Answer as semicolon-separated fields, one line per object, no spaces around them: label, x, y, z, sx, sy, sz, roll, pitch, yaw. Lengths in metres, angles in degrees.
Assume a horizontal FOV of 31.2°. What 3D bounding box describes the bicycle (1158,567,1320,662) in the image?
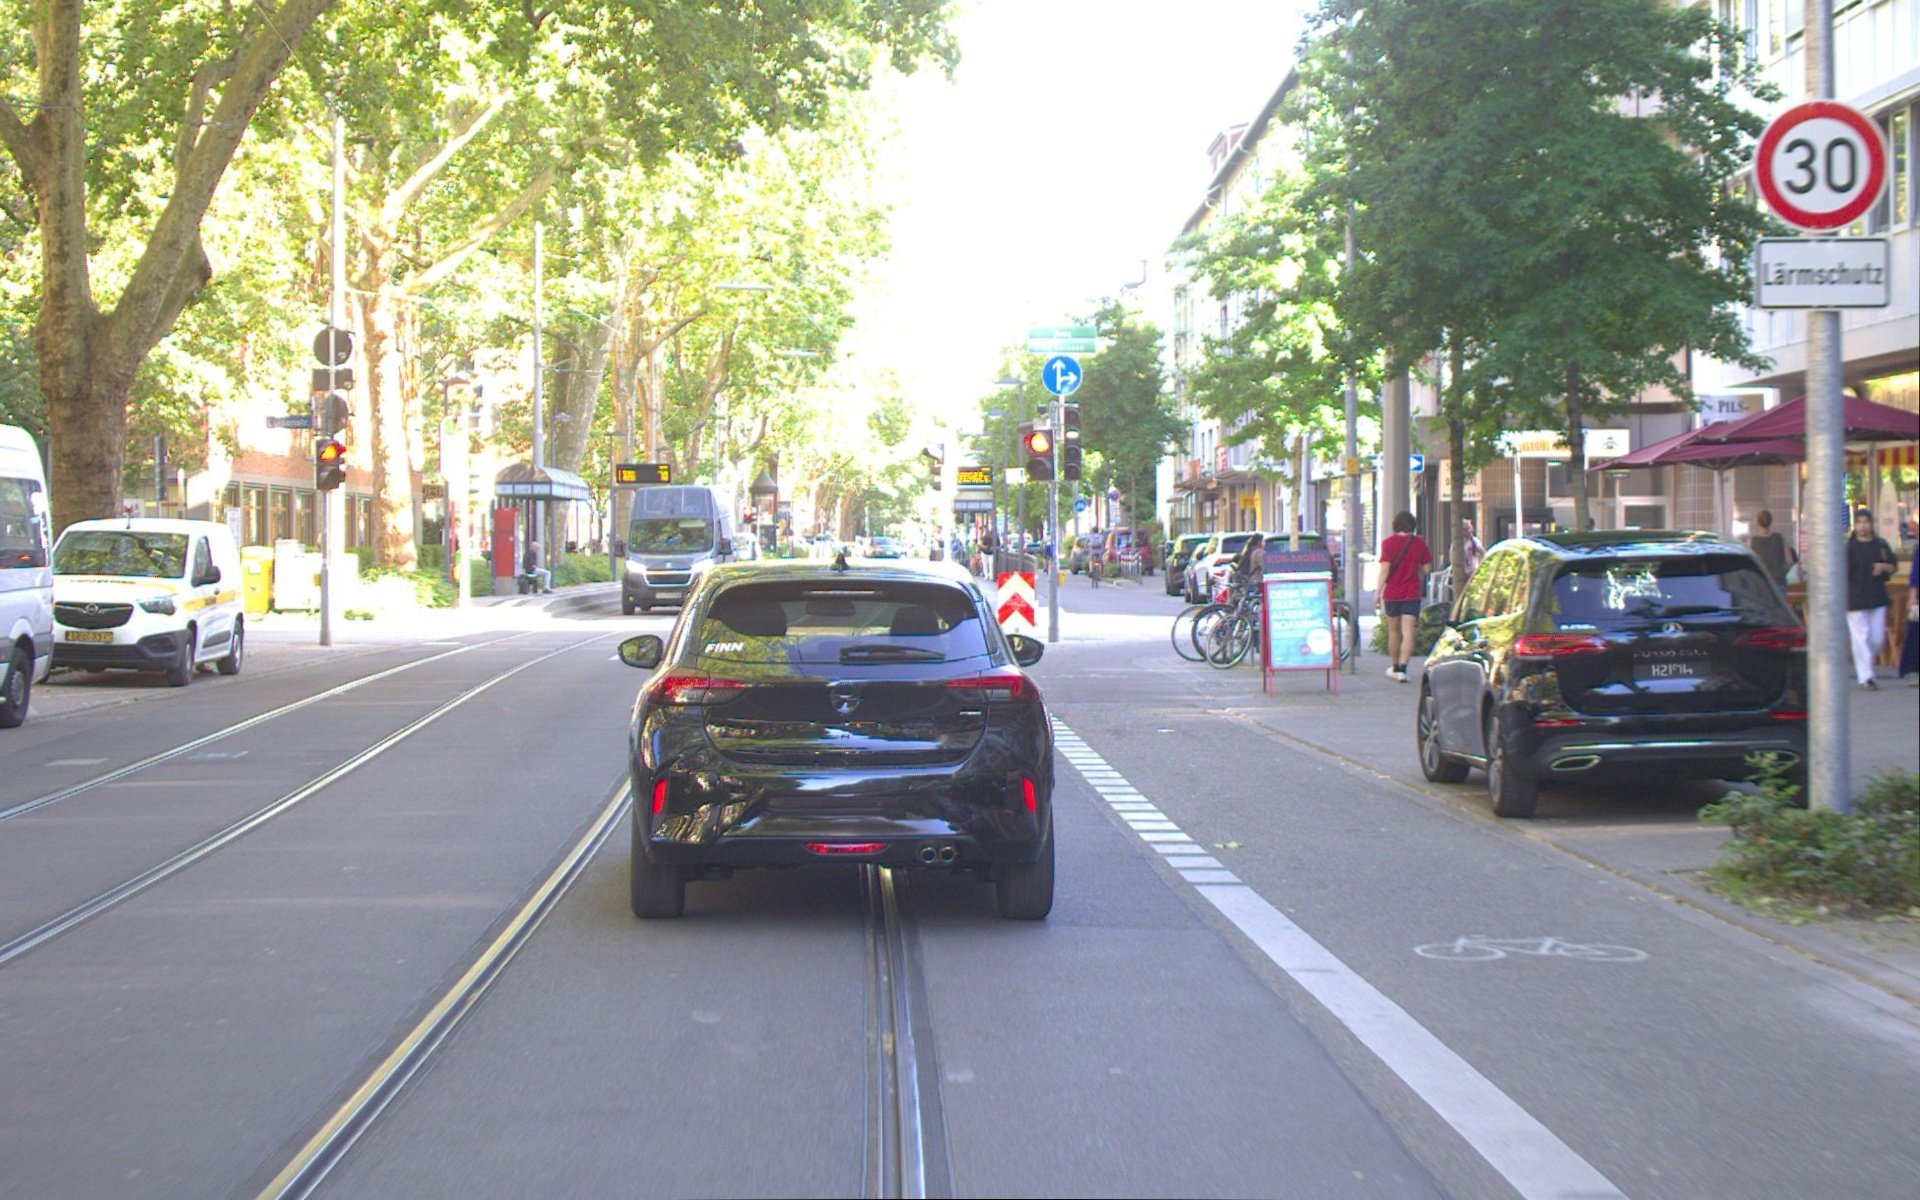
bicycle;3.269;0.169;40.289;1.815;1.096;0.498;1;0;-8

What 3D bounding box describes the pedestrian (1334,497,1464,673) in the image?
pedestrian;4.450;-0.159;34.828;0.877;1.752;1.045;1;1;37

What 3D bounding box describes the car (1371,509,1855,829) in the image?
car;3.711;0.338;20.313;1.758;1.582;4.329;-4;1;-3

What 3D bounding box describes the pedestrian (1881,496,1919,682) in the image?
pedestrian;8.876;-0.114;31.354;0.596;1.672;0.935;-2;1;-3

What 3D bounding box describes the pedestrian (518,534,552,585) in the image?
pedestrian;-9.895;-0.943;80.058;0.705;1.164;0.660;-1;1;-3

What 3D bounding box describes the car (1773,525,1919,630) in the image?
car;15.047;-0.326;53.506;4.247;1.587;1.967;0;0;-6

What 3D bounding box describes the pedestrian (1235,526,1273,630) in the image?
pedestrian;4.463;-0.332;52.241;0.551;1.556;0.645;1;0;4

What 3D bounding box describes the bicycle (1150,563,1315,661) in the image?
bicycle;3.086;0.134;38.950;1.815;1.096;0.525;0;0;-1

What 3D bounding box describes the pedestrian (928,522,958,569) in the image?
pedestrian;-0.616;-1.998;125.472;0.751;1.703;0.762;1;1;35

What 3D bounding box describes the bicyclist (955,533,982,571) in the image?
bicyclist;0.420;-2.270;162.776;1.163;1.742;0.958;1;0;-5

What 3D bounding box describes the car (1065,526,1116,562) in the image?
car;5.518;-2.365;145.861;1.993;1.481;4.000;1;1;0

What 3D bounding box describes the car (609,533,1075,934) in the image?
car;-0.523;0.485;14.912;1.759;1.503;3.683;-1;1;-2

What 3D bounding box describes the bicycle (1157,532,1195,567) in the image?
bicycle;7.078;-1.660;112.722;0.621;1.132;2.440;1;1;-11

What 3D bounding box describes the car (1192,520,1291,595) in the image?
car;6.247;-0.936;76.652;1.799;1.600;4.415;1;1;0

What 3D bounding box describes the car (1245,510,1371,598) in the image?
car;6.968;-0.913;69.189;1.993;1.610;4.445;-3;1;0

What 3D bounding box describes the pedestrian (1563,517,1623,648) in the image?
pedestrian;8.728;-0.246;47.419;0.590;1.778;0.995;1;0;-2

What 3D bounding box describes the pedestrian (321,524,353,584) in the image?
pedestrian;-17.535;-1.287;96.722;0.735;1.666;0.861;1;0;0

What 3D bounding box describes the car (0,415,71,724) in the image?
car;-9.031;-0.255;27.669;2.108;2.568;6.024;1;1;1

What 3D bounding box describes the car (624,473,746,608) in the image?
car;-5.822;-1.246;73.426;2.113;2.728;6.115;-1;1;0

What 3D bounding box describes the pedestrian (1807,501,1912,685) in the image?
pedestrian;8.186;-0.069;31.310;0.642;1.632;0.870;-2;1;-2

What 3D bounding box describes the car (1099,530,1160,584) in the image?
car;6.226;-1.586;126.641;1.993;1.946;4.000;1;1;-1

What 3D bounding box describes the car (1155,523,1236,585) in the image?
car;6.307;-1.222;92.448;1.857;1.610;4.398;1;1;0

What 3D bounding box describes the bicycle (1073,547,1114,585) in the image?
bicycle;4.074;-1.040;105.030;0.860;1.132;2.396;1;1;-6

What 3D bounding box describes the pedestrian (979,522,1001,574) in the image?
pedestrian;0.922;-1.608;106.383;0.631;1.571;0.871;2;1;0

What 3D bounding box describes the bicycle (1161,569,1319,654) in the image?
bicycle;3.344;0.133;41.097;1.815;0.991;0.481;1;0;-3

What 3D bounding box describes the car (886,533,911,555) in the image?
car;-4.532;-4.140;254.154;1.745;1.539;4.000;1;1;-2

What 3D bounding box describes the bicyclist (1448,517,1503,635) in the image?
bicyclist;7.618;-0.355;50.803;0.677;1.711;0.965;1;0;2

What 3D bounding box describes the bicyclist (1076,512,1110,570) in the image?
bicyclist;4.072;-1.788;105.058;0.860;1.753;1.054;1;0;-6

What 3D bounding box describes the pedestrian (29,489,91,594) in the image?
pedestrian;-16.160;-1.060;61.727;0.923;1.829;0.920;1;3;-4

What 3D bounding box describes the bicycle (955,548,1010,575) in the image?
bicycle;1.068;-1.811;162.839;2.480;1.236;0.958;1;0;-5

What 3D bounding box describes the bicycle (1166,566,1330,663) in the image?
bicycle;3.321;0.164;39.671;1.815;1.096;0.481;1;0;-8

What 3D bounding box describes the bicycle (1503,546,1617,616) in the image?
bicycle;10.536;-0.342;60.384;1.914;1.203;0.511;-1;1;-4

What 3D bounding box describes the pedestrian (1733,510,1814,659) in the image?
pedestrian;9.155;-0.181;38.715;0.677;1.653;0.814;1;0;-1

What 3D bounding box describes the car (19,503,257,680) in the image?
car;-9.131;-0.113;38.489;1.763;1.844;4.319;1;1;-2
